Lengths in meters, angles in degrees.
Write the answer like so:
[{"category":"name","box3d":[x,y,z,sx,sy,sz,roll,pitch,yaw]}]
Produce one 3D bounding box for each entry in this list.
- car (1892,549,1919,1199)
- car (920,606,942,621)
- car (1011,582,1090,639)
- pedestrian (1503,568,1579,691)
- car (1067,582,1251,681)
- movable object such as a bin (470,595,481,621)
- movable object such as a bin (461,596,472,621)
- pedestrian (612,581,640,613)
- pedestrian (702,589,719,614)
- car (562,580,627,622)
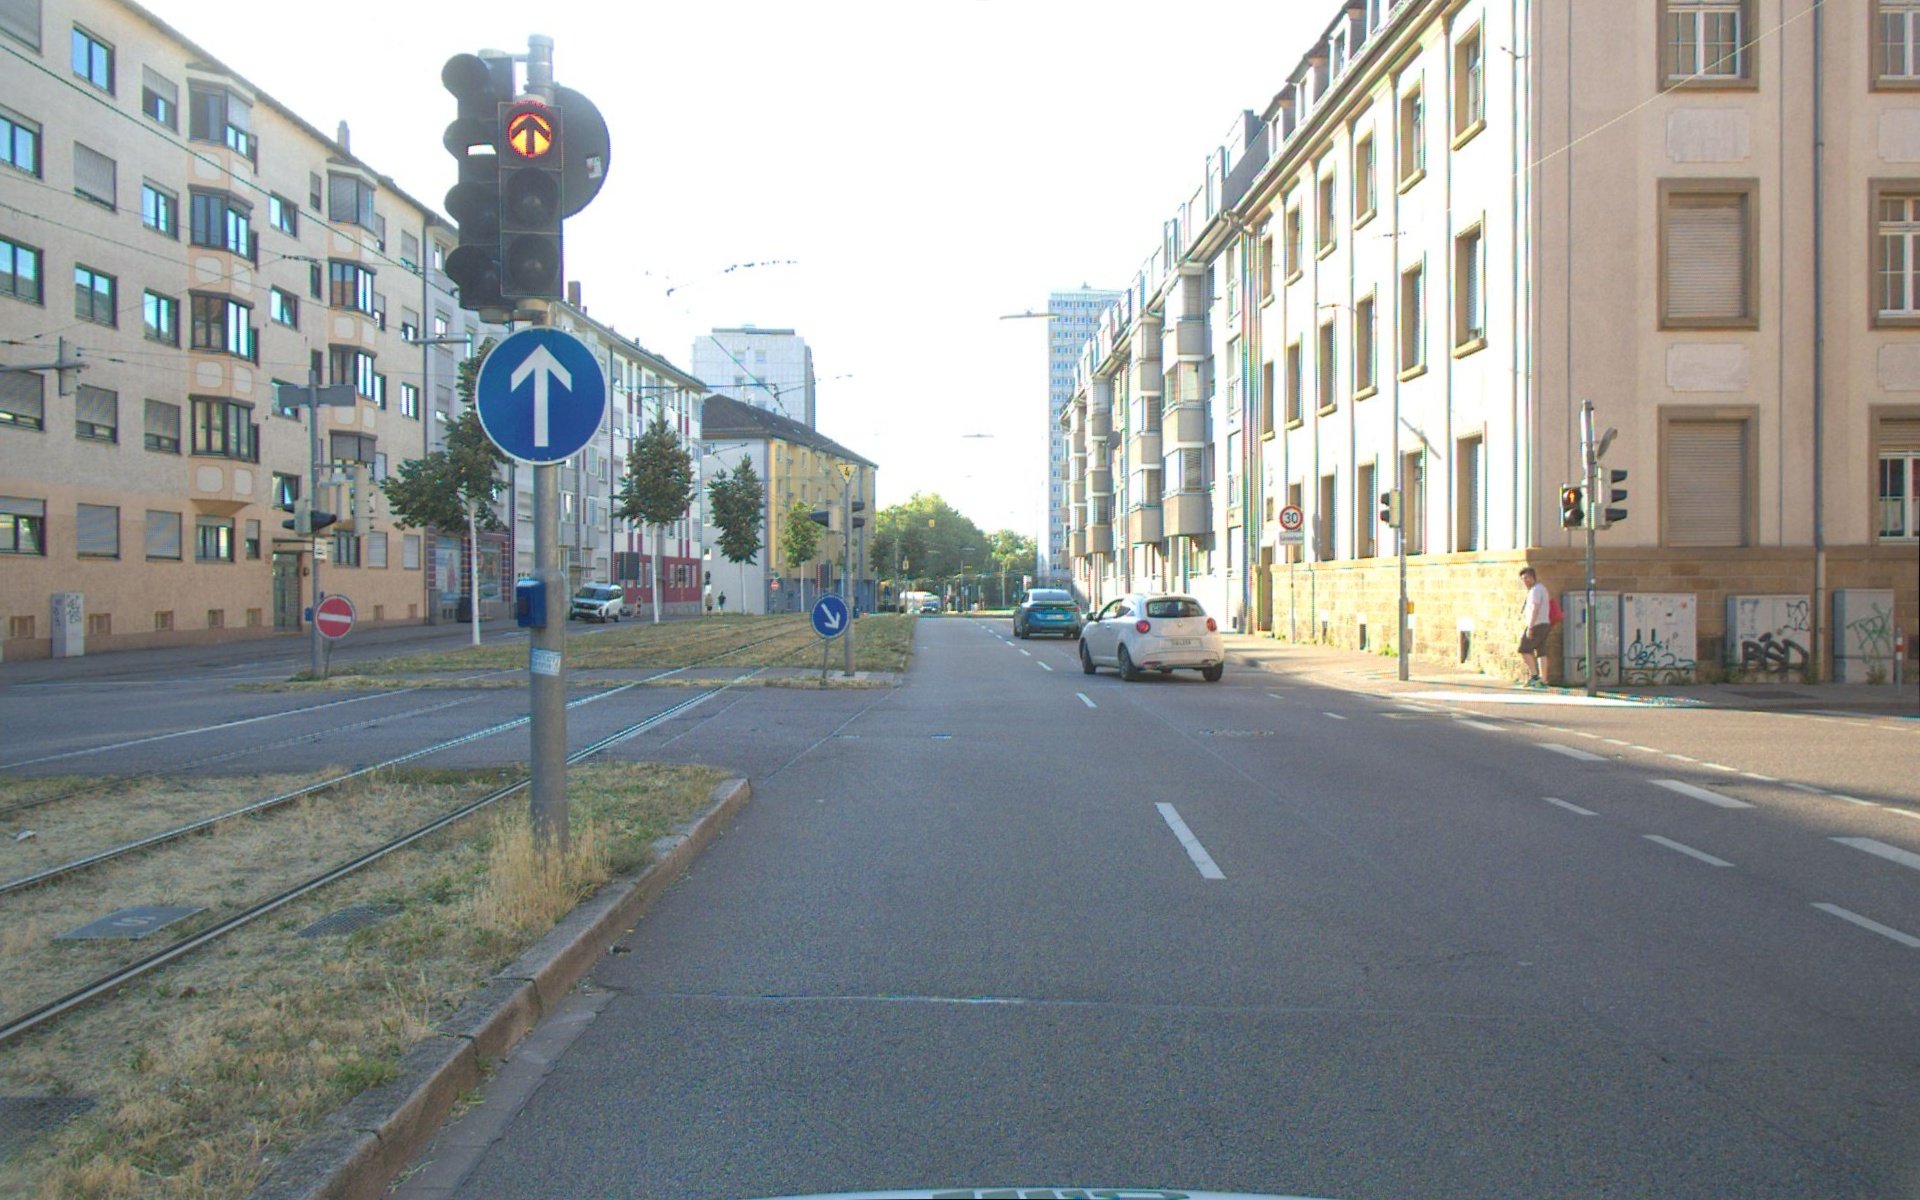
[{"category":"car","box3d":[2.880,0.722,1.456,1.663,1.580,4.225,2,0,-1]},{"category":"car","box3d":[-3.290,1.549,188.537,1.857,1.662,4.751,-1,0,7]},{"category":"car","box3d":[2.625,0.302,49.050,1.953,1.581,4.392,1,0,-2]},{"category":"pedestrian","box3d":[8.655,0.430,24.665,0.818,1.793,0.824,1,-1,-1]},{"category":"car","box3d":[3.373,0.522,28.825,1.959,1.591,3.987,1,0,-13]},{"category":"movable object such as a bin","box3d":[-20.074,0.341,68.514,0.292,1.054,0.441,1,-1,-2]},{"category":"movable object such as a bin","box3d":[-20.284,0.348,67.967,0.292,1.054,0.441,1,-1,2]},{"category":"pedestrian","box3d":[-18.573,-0.158,92.029,1.243,1.791,1.274,1,0,3]},{"category":"pedestrian","box3d":[-17.535,0.079,116.312,0.942,1.723,1.011,1,0,4]},{"category":"car","box3d":[-17.913,0.046,81.341,1.952,1.958,4.543,1,0,3]}]
